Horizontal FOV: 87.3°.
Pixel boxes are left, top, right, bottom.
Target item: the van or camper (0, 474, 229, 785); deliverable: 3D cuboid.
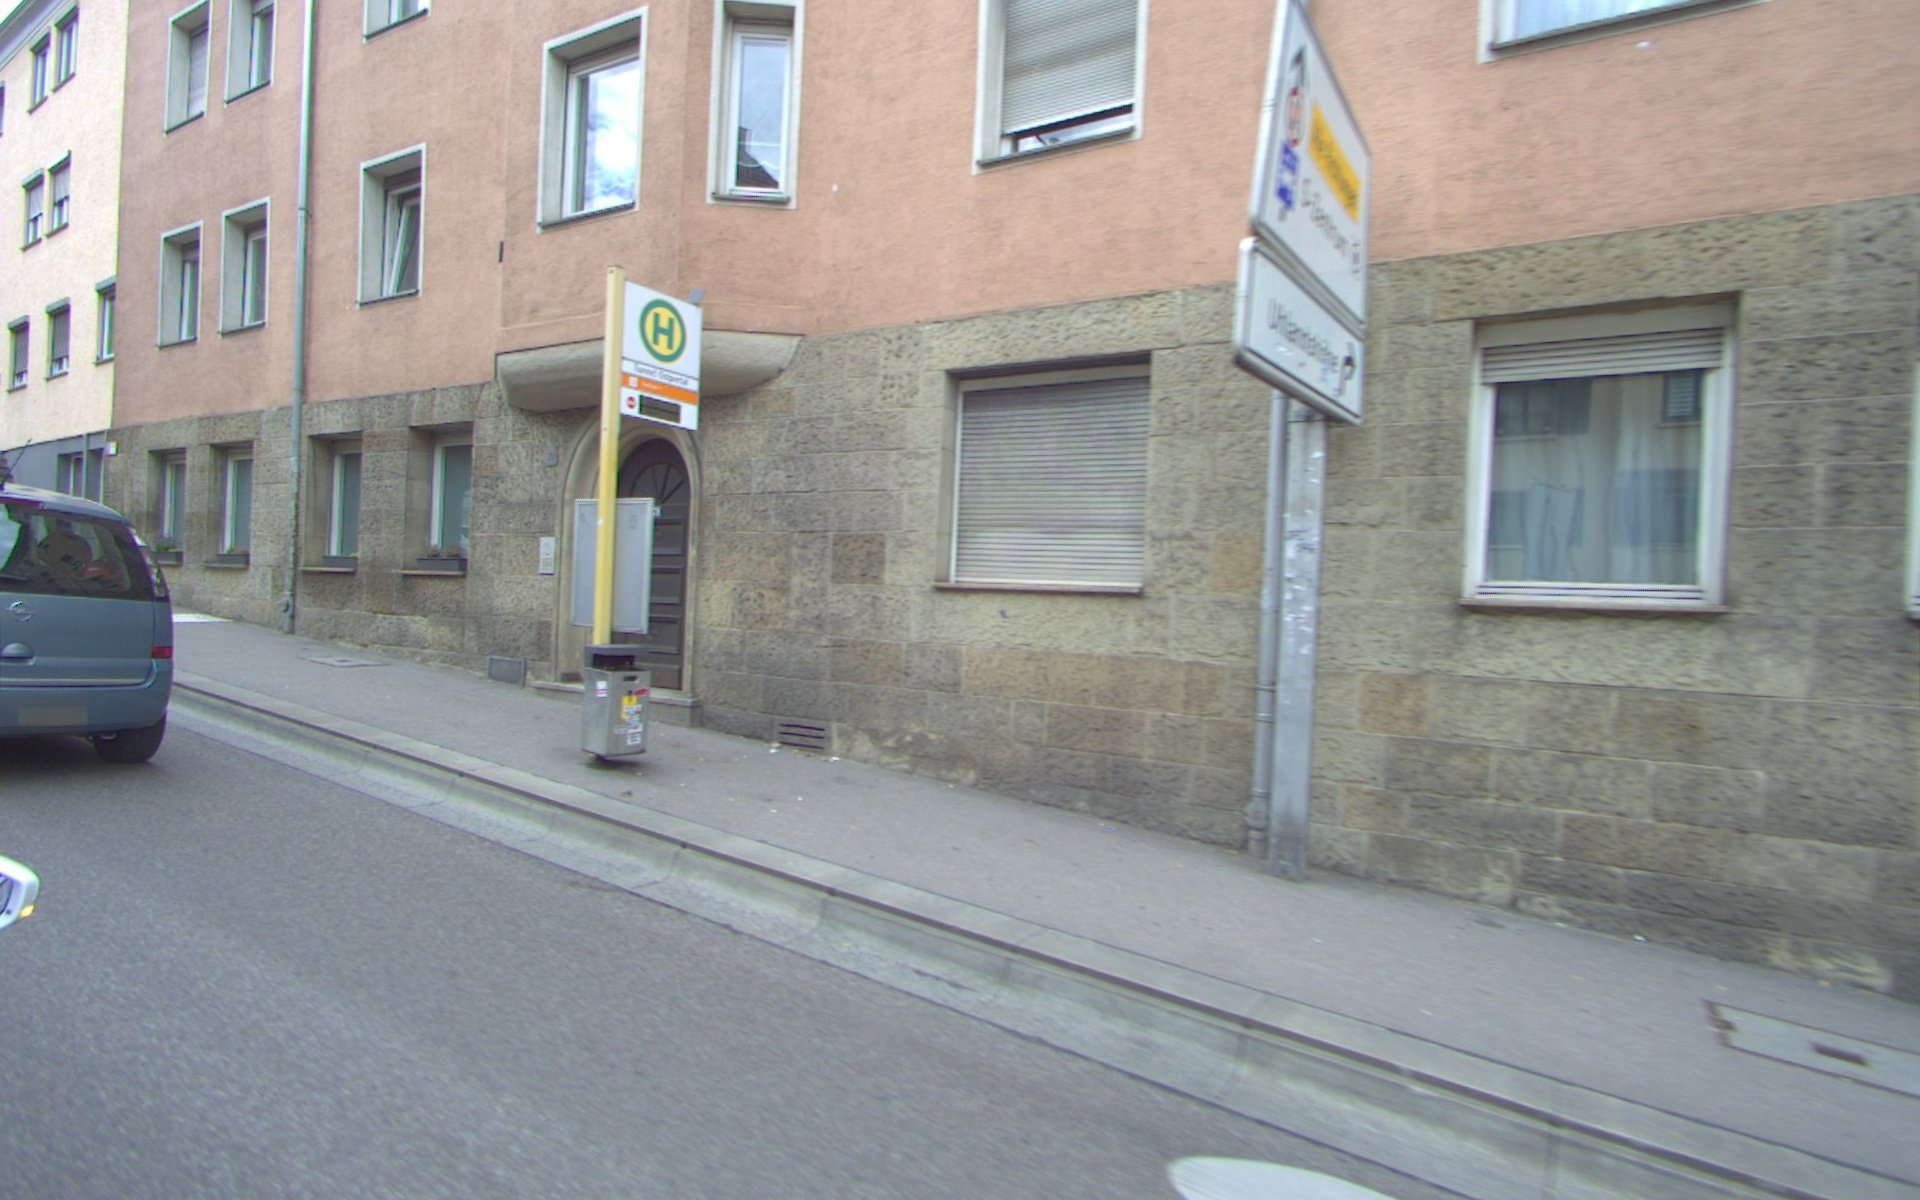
[{"bbox_3d":[-6.406,0.005,6.167,3.585,1.597,1.738,6,-1,31],"label":"van or camper"}]
